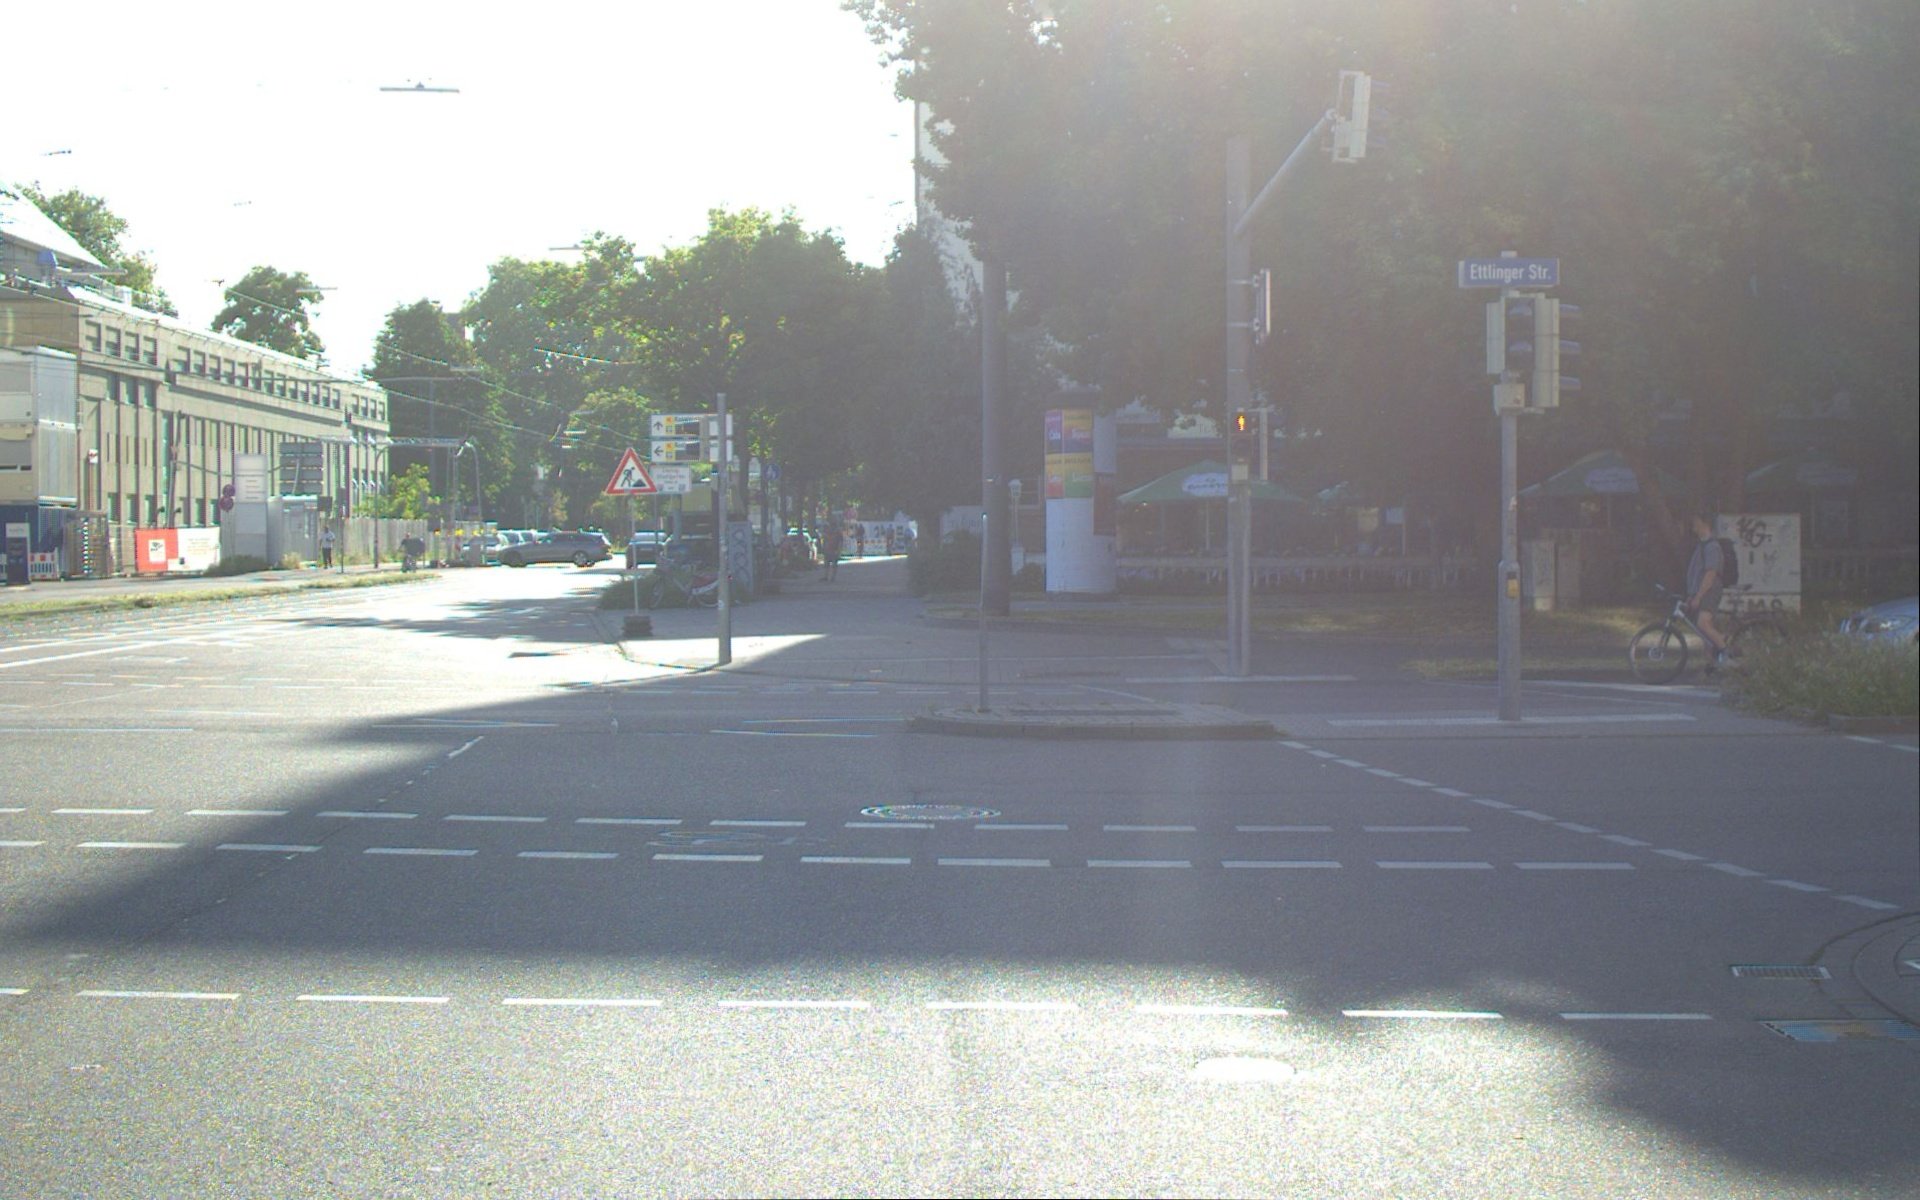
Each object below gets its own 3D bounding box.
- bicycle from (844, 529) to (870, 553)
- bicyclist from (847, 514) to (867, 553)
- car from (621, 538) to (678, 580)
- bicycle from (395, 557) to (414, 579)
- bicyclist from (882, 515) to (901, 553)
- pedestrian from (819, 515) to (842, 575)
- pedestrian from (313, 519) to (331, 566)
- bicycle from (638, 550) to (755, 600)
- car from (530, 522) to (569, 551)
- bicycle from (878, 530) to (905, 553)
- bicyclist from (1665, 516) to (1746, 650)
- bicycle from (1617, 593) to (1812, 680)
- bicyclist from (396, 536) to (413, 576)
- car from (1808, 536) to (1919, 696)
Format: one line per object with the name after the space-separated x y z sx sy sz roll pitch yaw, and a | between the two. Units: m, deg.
-5.406 -3.098 180.459 0.890 1.215 2.794 1 1 -12 | bicycle
-5.414 -3.495 180.528 0.890 2.007 0.749 1 0 -12 | bicyclist
-12.586 -1.662 139.634 1.993 1.634 4.000 1 1 -1 | car
-21.052 -1.213 130.388 0.494 0.836 1.156 -1 1 2 | bicycle
-3.604 -3.476 181.154 0.890 2.007 0.749 1 0 -12 | bicyclist
-3.690 -1.565 97.679 0.576 1.683 0.585 -1 1 -8 | pedestrian
-25.683 -2.319 138.490 0.588 1.883 0.478 1 0 5 | pedestrian
-5.156 -0.490 67.221 2.244 0.937 0.654 -1 1 -5 | bicycle
-23.249 -3.607 194.696 1.993 1.638 4.001 -1 1 -4 | car
-3.599 -3.080 181.138 0.890 1.215 2.794 1 1 -12 | bicycle
7.889 -0.181 36.383 0.747 1.401 0.702 1 0 6 | bicyclist
7.971 0.382 36.384 1.944 0.886 0.718 1 0 6 | bicycle
-21.062 -1.665 130.343 0.494 1.493 0.666 -1 1 2 | bicyclist
10.835 0.169 33.577 4.576 1.511 2.000 1 0 0 | car
